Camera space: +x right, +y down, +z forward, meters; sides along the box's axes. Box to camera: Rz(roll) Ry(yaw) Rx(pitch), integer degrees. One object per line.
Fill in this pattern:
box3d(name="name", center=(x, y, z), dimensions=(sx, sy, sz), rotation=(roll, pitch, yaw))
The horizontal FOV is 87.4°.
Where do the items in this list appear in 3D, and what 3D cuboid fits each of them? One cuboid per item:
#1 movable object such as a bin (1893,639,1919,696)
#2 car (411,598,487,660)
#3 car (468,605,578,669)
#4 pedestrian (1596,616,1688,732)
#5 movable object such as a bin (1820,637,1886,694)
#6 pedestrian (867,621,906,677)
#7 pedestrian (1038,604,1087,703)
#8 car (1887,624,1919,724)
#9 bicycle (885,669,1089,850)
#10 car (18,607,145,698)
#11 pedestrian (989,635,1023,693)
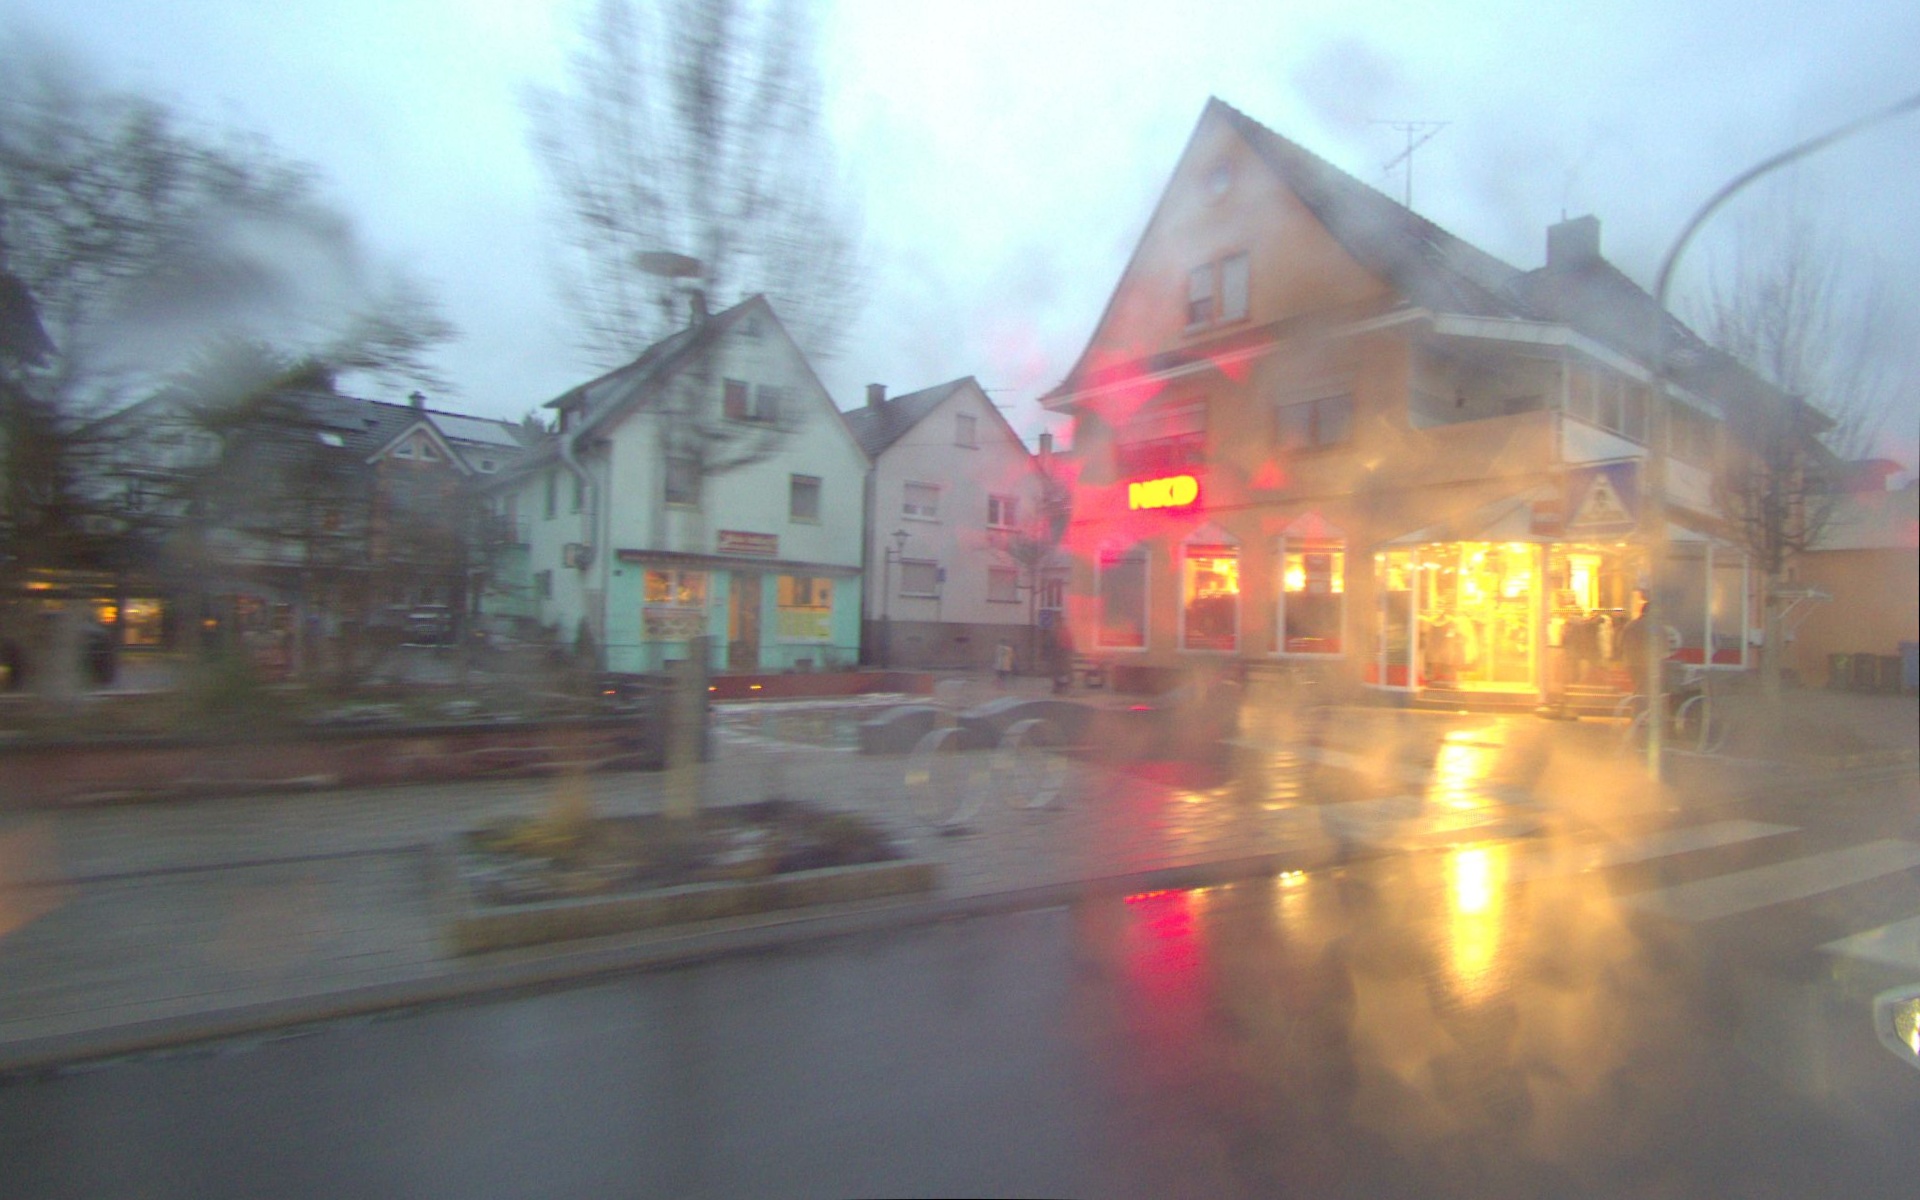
box3d(name="movable object such as a bin", center=(23.631, 1.641, 24.338), dimensions=(0.881, 1.371, 1.330), rotation=(2, -4, -38))
box3d(name="car", center=(-16.749, 0.919, 32.860), dimensions=(1.555, 1.882, 3.275), rotation=(2, -1, -39))
box3d(name="car", center=(-12.161, 0.990, 27.812), dimensions=(1.966, 1.624, 3.959), rotation=(2, -2, -36))
box3d(name="pedestrian", center=(10.485, 1.104, 15.444), dimensions=(1.087, 1.680, 0.820), rotation=(1, 0, -37))
box3d(name="movable object such as a bin", center=(22.731, 1.646, 25.579), dimensions=(0.844, 1.372, 1.141), rotation=(1, -1, -39))
box3d(name="pedestrian", center=(-2.319, 1.535, 31.627), dimensions=(0.834, 1.738, 0.908), rotation=(2, -2, -42))
box3d(name="pedestrian", center=(2.164, 1.119, 21.260), dimensions=(0.724, 2.040, 0.823), rotation=(2, 0, -16))
box3d(name="car", center=(17.440, 1.235, 16.457), dimensions=(4.564, 1.579, 1.985), rotation=(2, 0, -29))
box3d(name="bicycle", center=(0.246, 1.084, 7.210), dimensions=(0.321, 1.075, 1.734), rotation=(-6, -4, 44))
box3d(name="car", center=(-19.919, 1.165, 22.866), dimensions=(1.984, 1.868, 3.953), rotation=(2, -3, -40))
box3d(name="pedestrian", center=(1.060, 1.453, 23.048), dimensions=(0.673, 1.262, 0.826), rotation=(2, 0, 9))
